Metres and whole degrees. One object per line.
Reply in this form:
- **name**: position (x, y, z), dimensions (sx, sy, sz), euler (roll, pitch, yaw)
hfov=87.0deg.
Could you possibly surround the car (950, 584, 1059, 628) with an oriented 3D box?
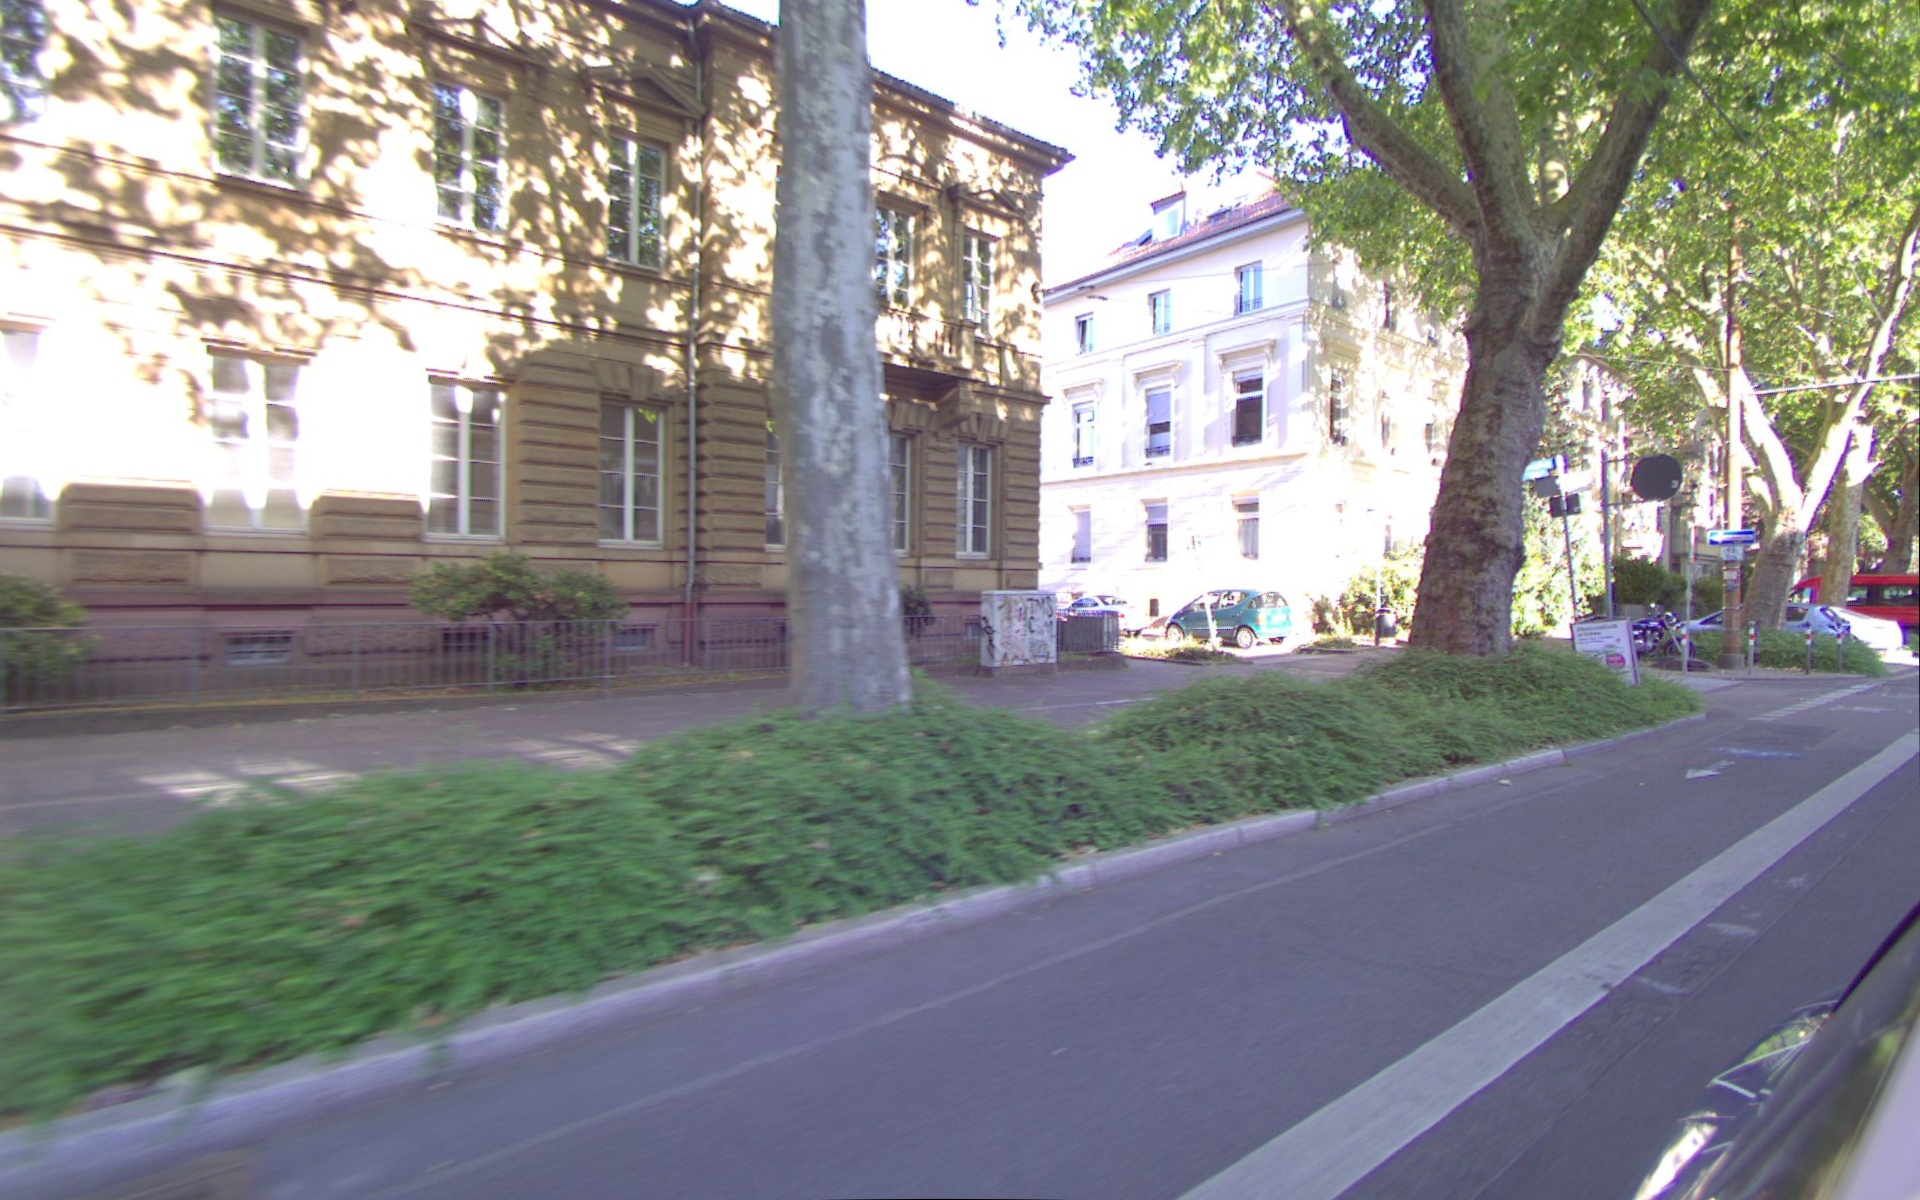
- **car**: position (1.518, 0.169, 36.037), dimensions (1.627, 1.431, 4.085), euler (-2, 2, -37)

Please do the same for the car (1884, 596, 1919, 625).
- **car**: position (51.675, 0.588, 53.567), dimensions (4.028, 1.498, 1.655), euler (2, 2, 44)

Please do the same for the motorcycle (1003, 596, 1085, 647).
- **motorcycle**: position (2.209, 0.549, 26.451), dimensions (2.137, 1.313, 0.497), euler (0, -1, -22)

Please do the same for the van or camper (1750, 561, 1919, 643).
- **van or camper**: position (30.855, 0.051, 34.490), dimensions (2.249, 2.550, 5.823), euler (1, 2, -43)

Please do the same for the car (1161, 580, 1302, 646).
- **car**: position (7.457, 0.303, 27.978), dimensions (1.602, 1.608, 3.480), euler (-4, 4, -39)

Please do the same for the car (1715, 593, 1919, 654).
- **car**: position (24.230, 0.611, 28.618), dimensions (1.728, 1.434, 4.296), euler (1, 2, -39)

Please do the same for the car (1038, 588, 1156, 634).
- **car**: position (4.299, 0.307, 32.129), dimensions (1.601, 1.341, 3.665), euler (-2, 2, -37)

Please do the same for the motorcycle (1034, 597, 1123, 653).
- **motorcycle**: position (2.867, 0.619, 24.480), dimensions (2.136, 1.313, 0.497), euler (1, -1, -22)

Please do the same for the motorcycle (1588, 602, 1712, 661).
- **motorcycle**: position (14.994, 0.673, 22.039), dimensions (2.145, 1.243, 0.471), euler (-1, -1, 22)

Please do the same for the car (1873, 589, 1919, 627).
- **car**: position (48.090, 0.462, 50.001), dimensions (1.818, 1.740, 4.268), euler (0, 3, -43)

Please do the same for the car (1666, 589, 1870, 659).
- **car**: position (20.295, 0.541, 25.532), dimensions (1.652, 1.527, 3.759), euler (0, 2, -40)
